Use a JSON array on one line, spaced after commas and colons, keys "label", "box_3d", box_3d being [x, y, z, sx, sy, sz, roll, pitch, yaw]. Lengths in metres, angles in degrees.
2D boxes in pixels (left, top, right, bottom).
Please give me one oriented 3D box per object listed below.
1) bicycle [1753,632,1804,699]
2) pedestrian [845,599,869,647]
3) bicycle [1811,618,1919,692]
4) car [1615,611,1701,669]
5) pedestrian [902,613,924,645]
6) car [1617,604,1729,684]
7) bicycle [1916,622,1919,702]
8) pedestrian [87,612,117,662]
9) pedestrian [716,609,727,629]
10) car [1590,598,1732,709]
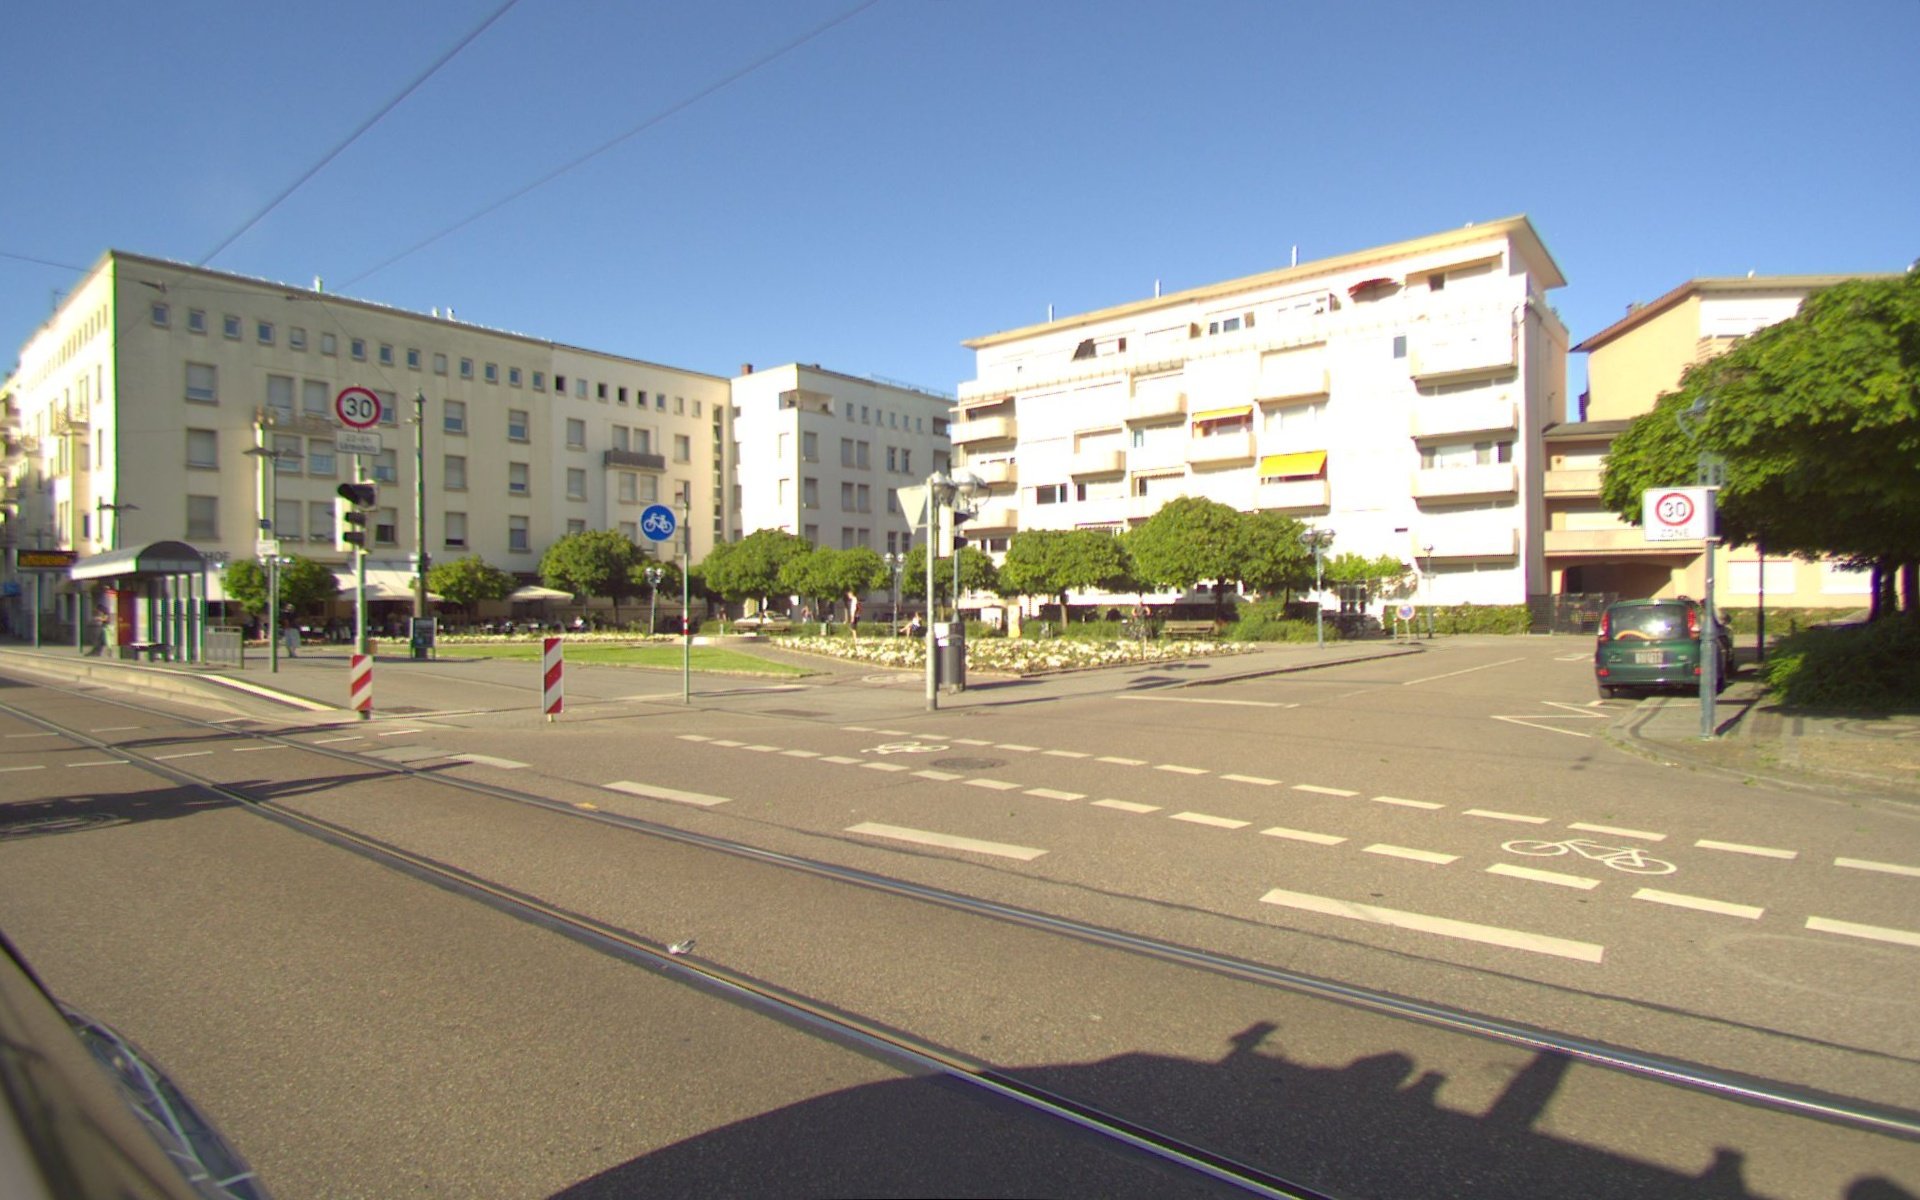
[{"label": "bicycle", "box_3d": [14.157, 1.097, 17.488, 0.628, 1.020, 2.405, -1, -1, 39]}, {"label": "pedestrian", "box_3d": [-3.683, 0.830, 36.272, 0.827, 1.708, 0.668, 0, -1, -2]}, {"label": "bicycle", "box_3d": [14.996, 0.861, 16.258, 2.397, 1.133, 0.630, 0, -1, -11]}, {"label": "car", "box_3d": [19.173, 1.047, 27.751, 1.621, 1.460, 3.940, -1, -1, 39]}, {"label": "pedestrian", "box_3d": [-2.173, 1.344, 46.982, 0.667, 1.429, 0.828, -1, -1, 38]}, {"label": "car", "box_3d": [15.965, 0.912, 22.574, 1.757, 1.628, 3.940, -1, -1, 39]}, {"label": "bicycle", "box_3d": [14.542, 0.861, 13.575, 2.436, 1.133, 0.620, -1, -1, 41]}, {"label": "pedestrian", "box_3d": [-26.289, 1.124, 31.013, 0.609, 1.502, 0.545, -1, -1, 34]}, {"label": "pedestrian", "box_3d": [-14.840, 1.198, 62.979, 0.499, 1.231, 0.396, 0, -1, -44]}, {"label": "car", "box_3d": [12.426, 0.856, 17.844, 1.676, 1.723, 3.939, -1, -1, 40]}]
